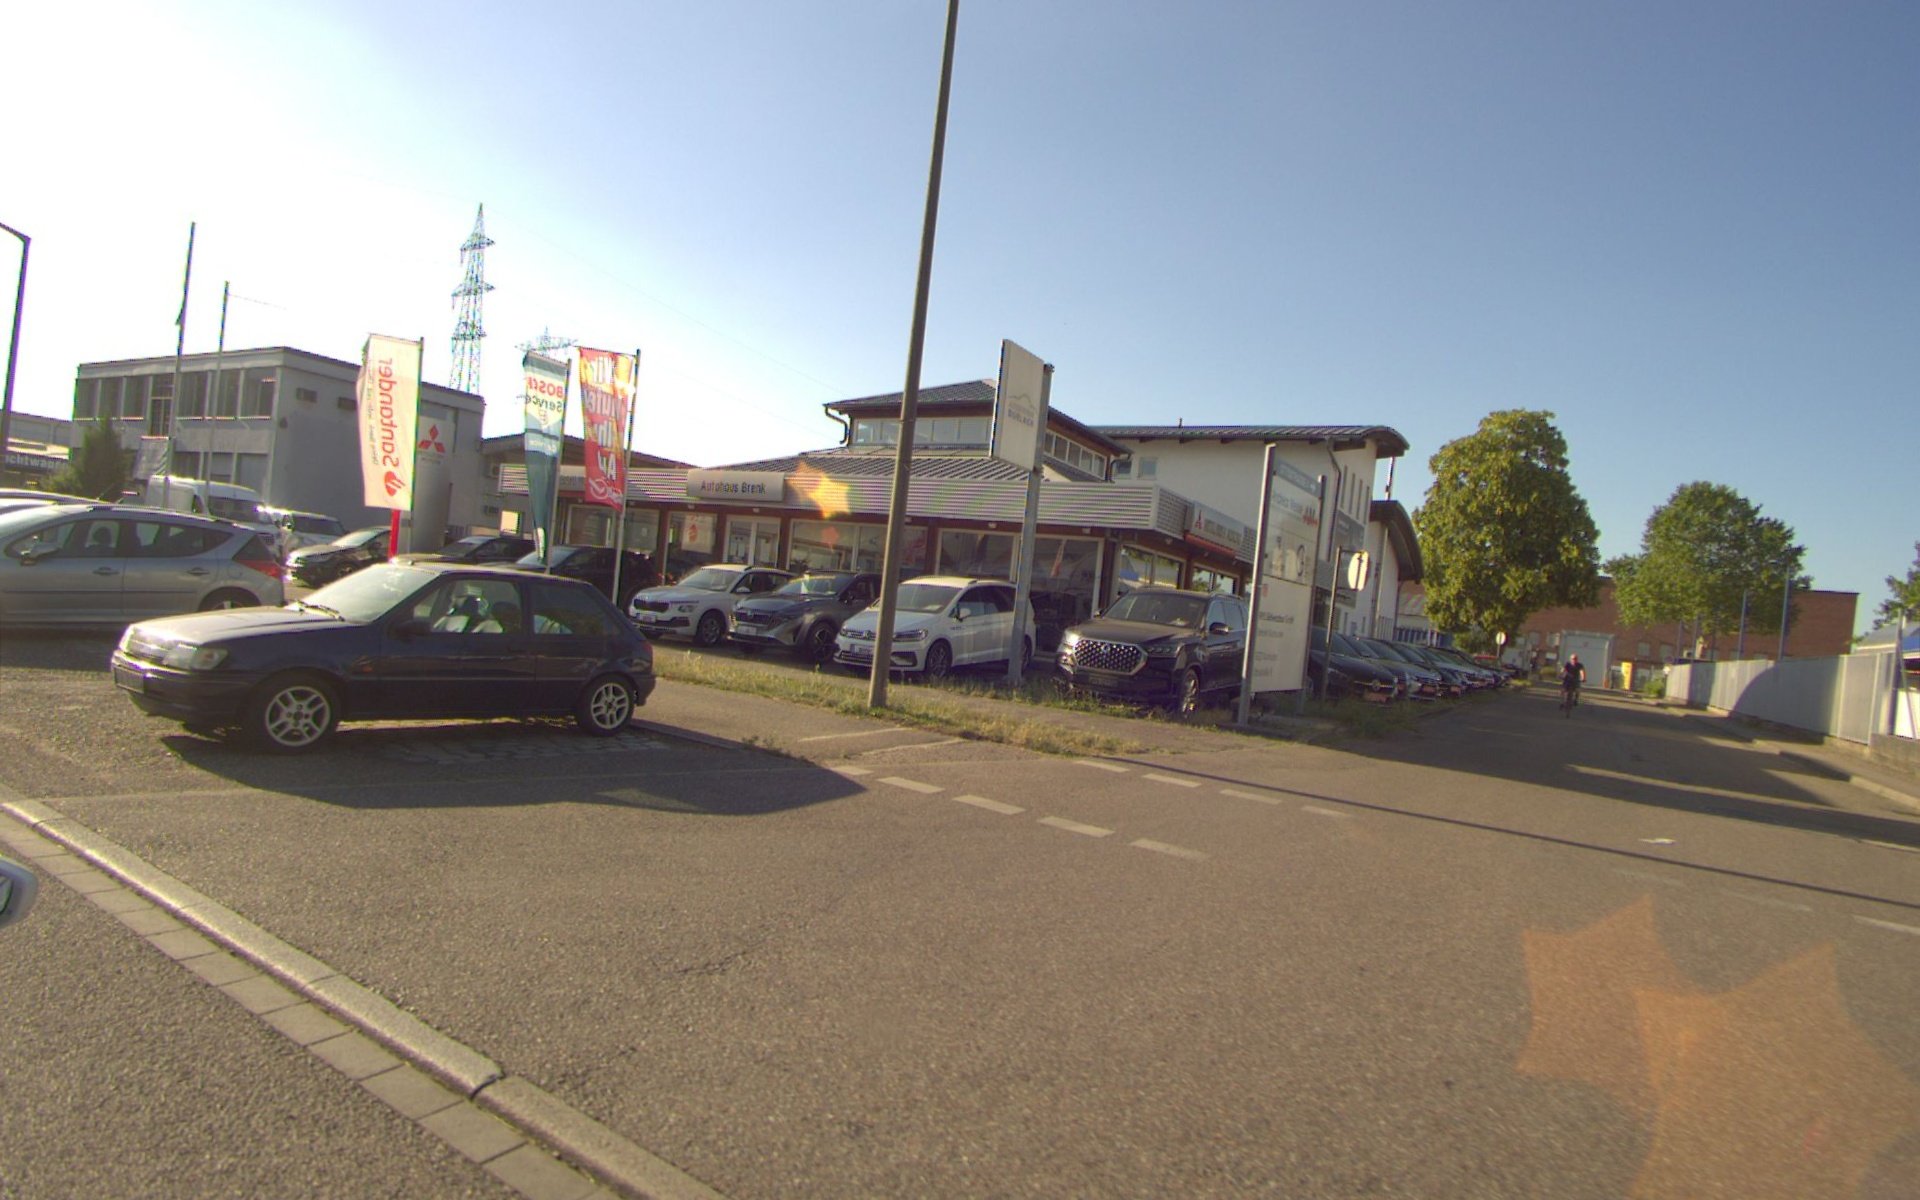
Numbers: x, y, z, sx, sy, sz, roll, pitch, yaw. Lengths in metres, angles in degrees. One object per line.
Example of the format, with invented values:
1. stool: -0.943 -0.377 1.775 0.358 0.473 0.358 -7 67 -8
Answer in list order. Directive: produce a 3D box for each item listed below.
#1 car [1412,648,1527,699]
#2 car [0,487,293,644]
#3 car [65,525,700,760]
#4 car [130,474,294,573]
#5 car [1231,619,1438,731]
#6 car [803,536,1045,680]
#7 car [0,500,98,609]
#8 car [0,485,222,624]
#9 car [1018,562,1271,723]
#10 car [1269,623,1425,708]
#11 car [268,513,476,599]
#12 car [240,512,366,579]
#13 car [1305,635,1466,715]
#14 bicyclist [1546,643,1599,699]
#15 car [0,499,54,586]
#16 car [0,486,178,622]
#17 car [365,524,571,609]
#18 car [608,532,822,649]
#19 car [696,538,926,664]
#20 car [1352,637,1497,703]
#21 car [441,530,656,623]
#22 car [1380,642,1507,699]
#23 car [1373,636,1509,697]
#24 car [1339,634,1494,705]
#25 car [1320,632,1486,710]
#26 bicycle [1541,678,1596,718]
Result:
1. car: 22.471 3.218 44.498 1.979 1.758 3.969 7 -2 -31
2. car: -10.269 -0.399 11.475 1.835 1.608 3.992 6 1 28
3. car: -4.255 0.303 8.030 1.756 1.313 3.986 6 1 34
4. car: -24.292 -2.521 32.581 6.036 2.656 1.996 6 -1 32
5. car: 7.166 1.370 19.759 1.966 1.758 3.996 7 -2 -9
6. car: -0.490 0.219 17.327 2.165 1.922 3.939 9 1 31
7. car: -16.189 -0.901 15.304 1.715 1.624 4.253 6 -2 27
8. car: -12.494 -0.658 13.094 2.023 1.638 4.115 6 0 28
9. car: 2.956 0.710 15.191 2.165 1.921 4.503 5 -2 31
10. car: 8.984 1.477 23.690 1.708 1.652 3.574 6 -2 -10
11. car: -15.075 -1.089 26.000 1.967 1.794 4.145 6 1 32
12. car: -22.434 -1.865 34.323 3.934 1.820 1.997 6 -2 32
13. car: 10.969 1.899 26.139 1.719 1.652 3.411 7 -2 -30
14. bicyclist: 17.471 2.031 28.734 1.152 1.424 1.158 6 -1 32
15. car: -18.086 -1.136 16.426 2.100 1.454 4.439 6 1 31
16. car: -14.189 -0.773 14.483 1.851 1.760 4.119 6 -2 28
17. car: -11.805 -0.758 24.387 1.967 1.681 3.988 6 1 32
18. car: -4.703 -0.119 19.864 1.758 1.921 3.907 4 -2 31
19. car: -2.630 -0.005 18.542 2.165 1.925 3.798 7 3 31
20. car: 15.863 2.382 34.543 1.979 1.758 3.969 7 -2 -31
21. car: -9.065 -0.479 22.457 1.967 1.719 3.988 6 1 32
22. car: 19.121 2.756 39.922 1.979 1.758 3.969 7 -2 -31
23. car: 17.746 2.426 37.281 1.979 1.758 3.969 7 -2 -31
24. car: 14.499 2.192 32.140 1.979 1.758 3.969 7 -2 -31
25. car: 12.731 2.006 29.186 1.975 1.758 3.978 7 -2 -25
26. bicycle: 17.362 2.789 28.670 1.189 0.932 3.302 6 -2 32
